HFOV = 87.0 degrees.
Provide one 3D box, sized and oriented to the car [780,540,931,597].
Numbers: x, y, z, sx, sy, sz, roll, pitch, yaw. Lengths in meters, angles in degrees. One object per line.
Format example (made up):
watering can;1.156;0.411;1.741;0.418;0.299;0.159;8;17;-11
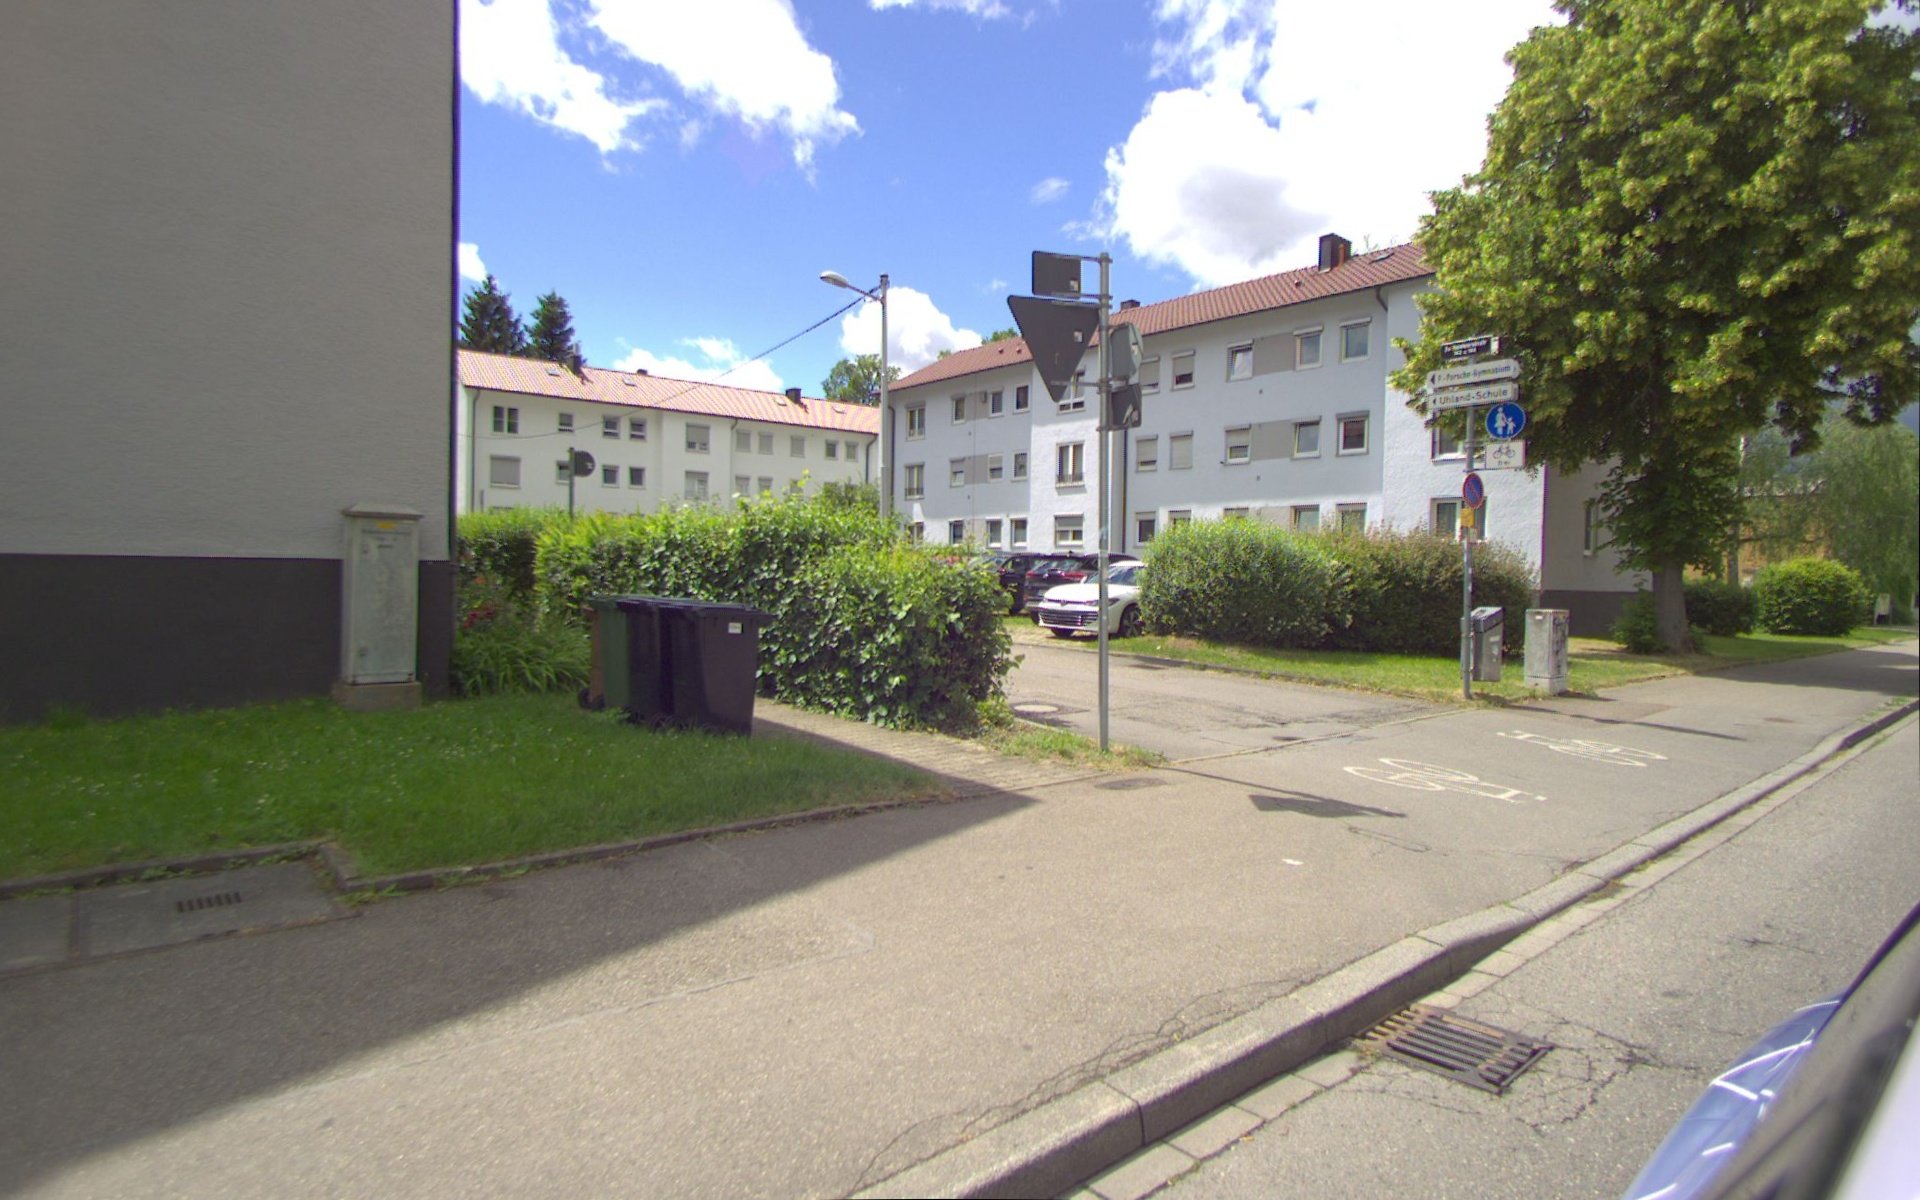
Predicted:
car;-2.967;-0.890;29.077;4.008;1.501;1.769;0;3;-41

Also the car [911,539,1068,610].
car;0.790;-0.628;25.471;3.677;1.649;1.831;0;1;-41

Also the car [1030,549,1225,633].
car;3.200;-0.156;19.026;3.677;1.434;1.678;0;0;-41

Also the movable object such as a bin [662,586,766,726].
movable object such as a bin;-1.817;0.392;7.475;0.570;0.966;0.497;0;2;-41

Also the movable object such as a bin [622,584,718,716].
movable object such as a bin;-2.250;0.369;7.856;0.541;0.959;0.501;0;2;-41

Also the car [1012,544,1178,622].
car;3.059;-0.351;22.525;3.677;1.588;1.678;0;0;-41

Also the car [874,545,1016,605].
car;-0.381;-0.681;28.093;3.677;1.532;1.684;0;3;-41
